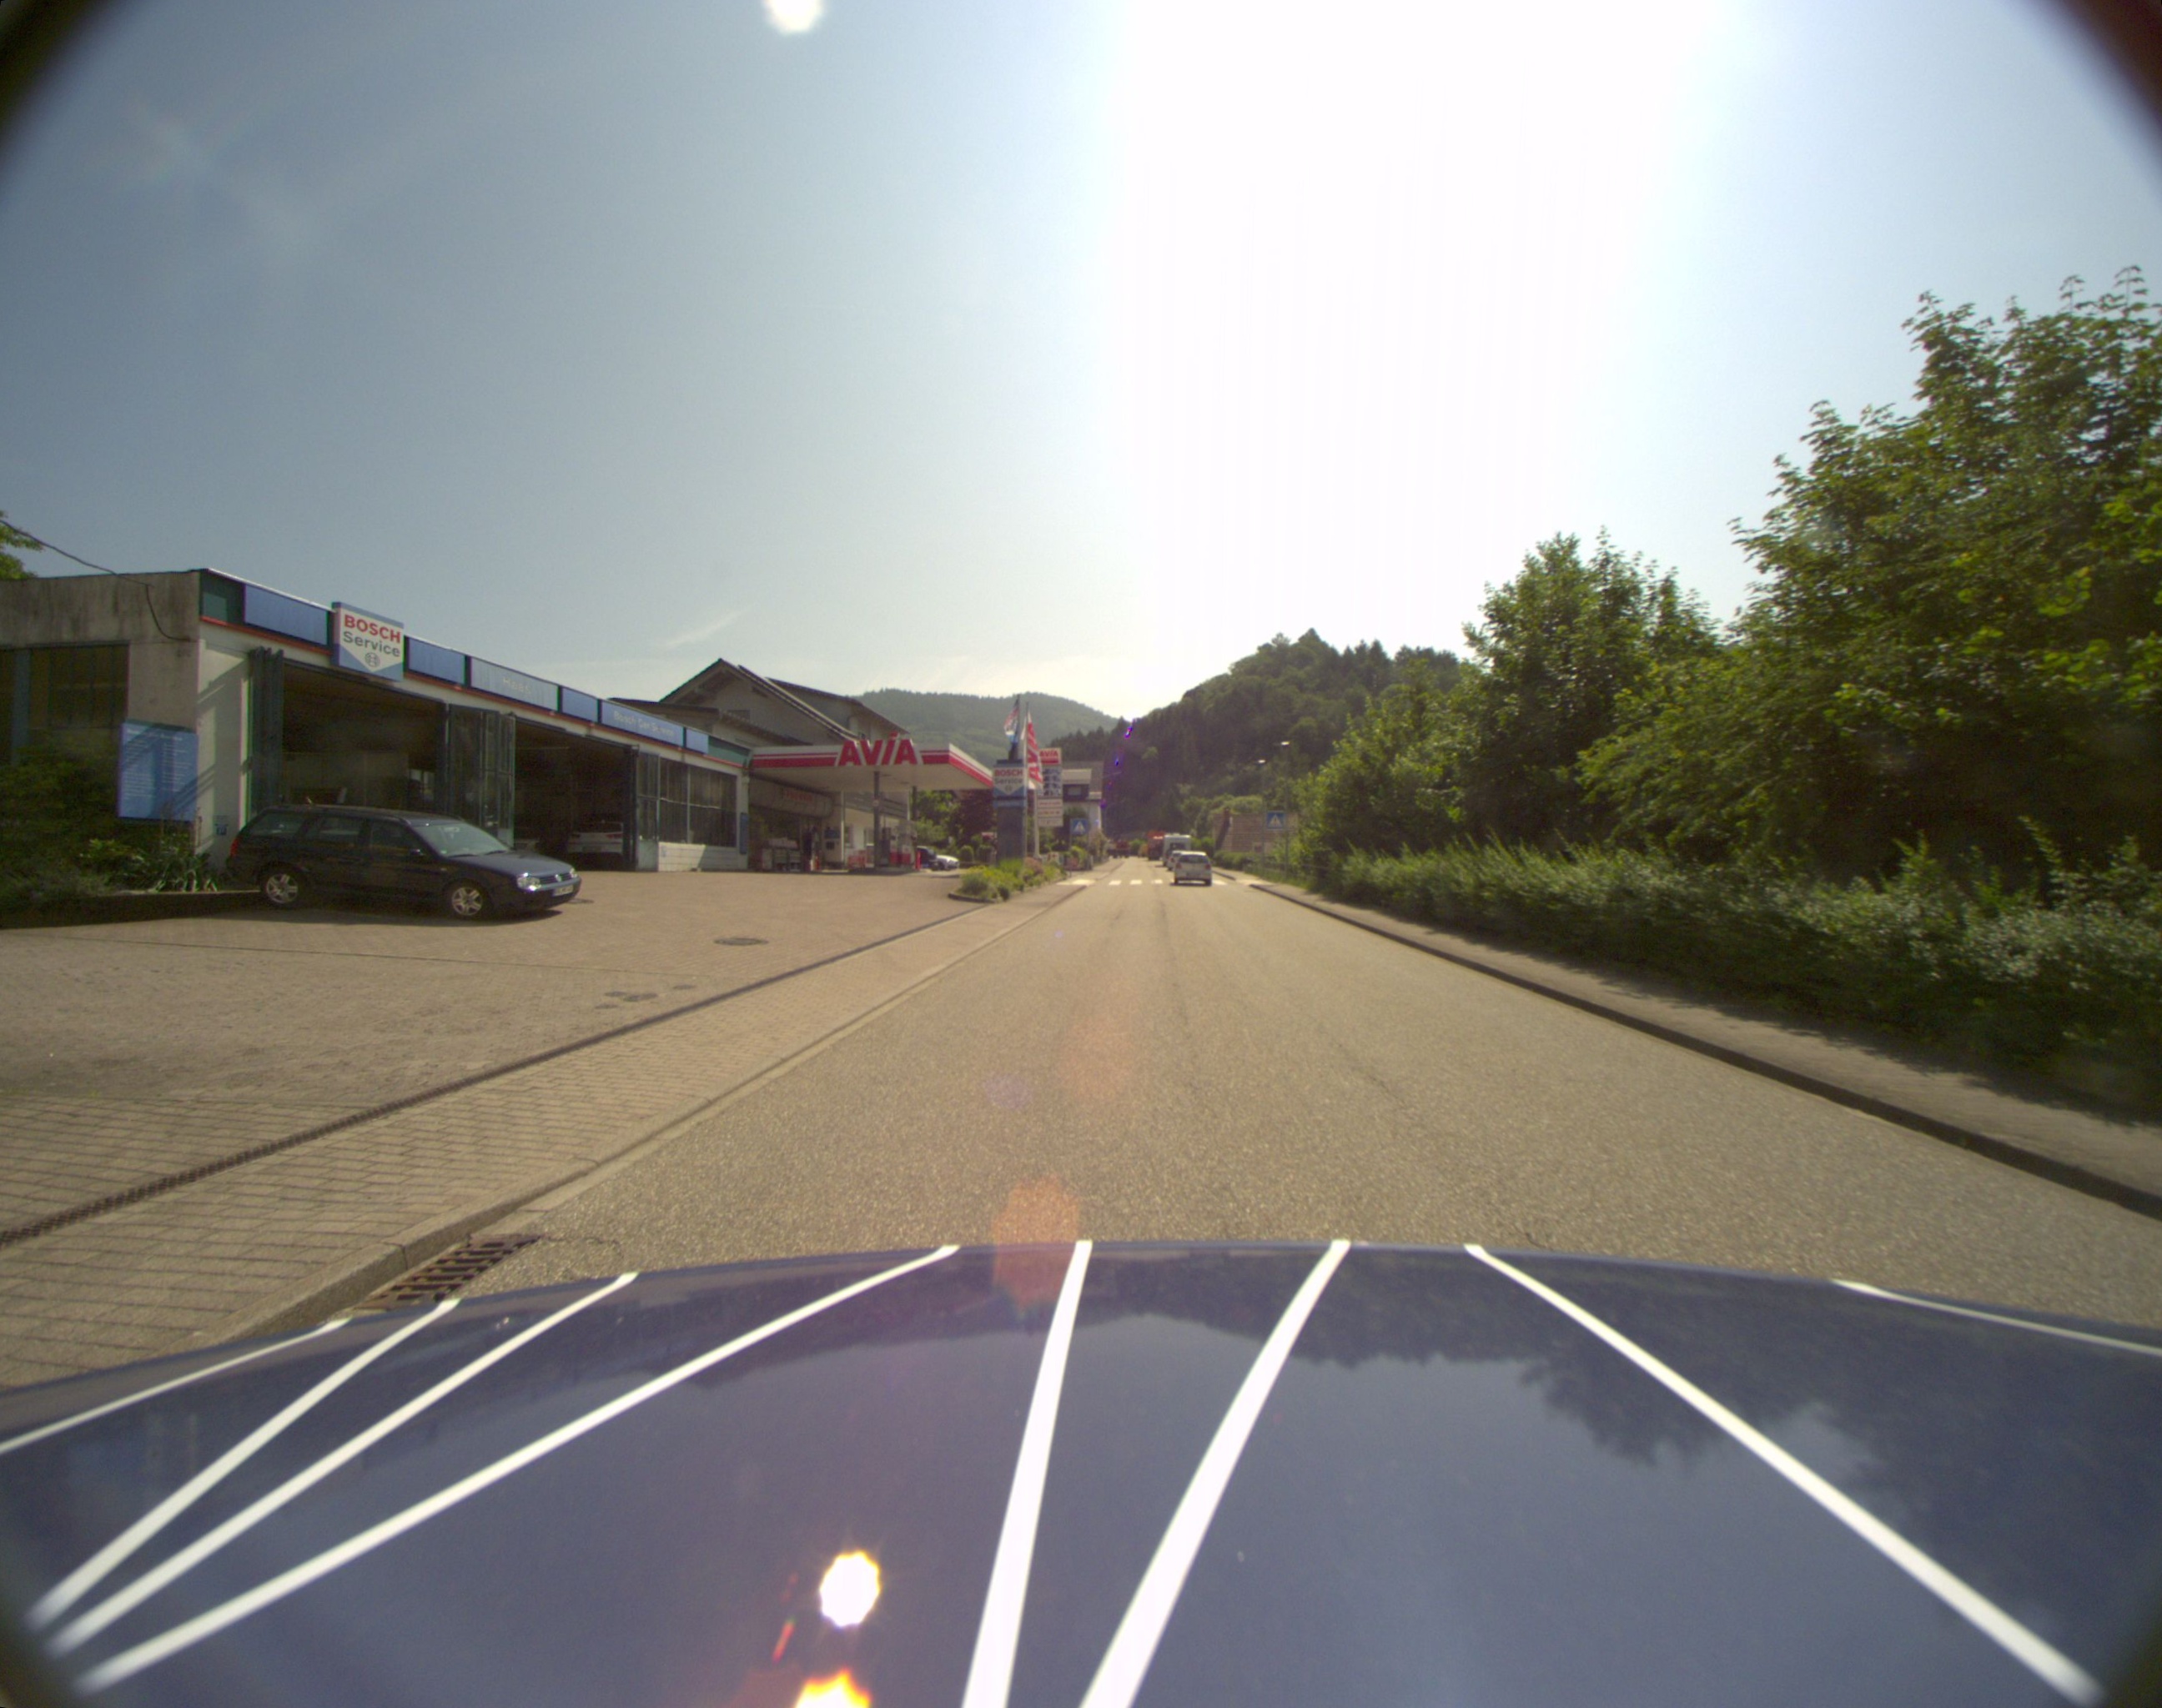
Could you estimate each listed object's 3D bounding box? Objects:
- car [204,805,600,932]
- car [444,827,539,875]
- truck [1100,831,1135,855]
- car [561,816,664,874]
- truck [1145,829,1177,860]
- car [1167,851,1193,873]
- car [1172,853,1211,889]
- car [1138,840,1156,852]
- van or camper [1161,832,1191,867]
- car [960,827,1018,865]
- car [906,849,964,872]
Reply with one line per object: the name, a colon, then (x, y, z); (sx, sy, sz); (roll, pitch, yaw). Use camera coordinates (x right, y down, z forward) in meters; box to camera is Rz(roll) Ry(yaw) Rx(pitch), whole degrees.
car: (-10.221, 0.184, 11.733); (4.330, 1.536, 1.798); (4, 2, -4)
car: (-18.780, -0.054, 24.185); (3.468, 1.397, 1.552); (-1, -2, 38)
truck: (5.662, -1.715, 119.366); (2.655, 3.562, 7.757); (1, 1, -20)
car: (-15.396, -0.355, 25.190); (1.607, 1.678, 3.924); (3, 2, -12)
truck: (9.942, -1.229, 95.240); (2.651, 3.561, 8.190); (2, 1, -2)
car: (7.163, 0.570, 55.251); (1.608, 1.398, 3.828); (3, 1, 5)
car: (4.940, 0.717, 34.242); (1.593, 1.474, 3.759); (2, 1, 8)
car: (10.102, -1.204, 116.491); (1.783, 1.656, 3.572); (3, 2, -12)
van or camper: (8.602, -0.416, 69.509); (2.363, 2.936, 8.054); (2, 0, 5)
car: (-4.192, -0.374, 35.222); (1.695, 1.568, 3.912); (4, 2, 6)
car: (-8.702, 0.351, 45.361); (3.079, 1.138, 1.335); (4, 2, 4)
